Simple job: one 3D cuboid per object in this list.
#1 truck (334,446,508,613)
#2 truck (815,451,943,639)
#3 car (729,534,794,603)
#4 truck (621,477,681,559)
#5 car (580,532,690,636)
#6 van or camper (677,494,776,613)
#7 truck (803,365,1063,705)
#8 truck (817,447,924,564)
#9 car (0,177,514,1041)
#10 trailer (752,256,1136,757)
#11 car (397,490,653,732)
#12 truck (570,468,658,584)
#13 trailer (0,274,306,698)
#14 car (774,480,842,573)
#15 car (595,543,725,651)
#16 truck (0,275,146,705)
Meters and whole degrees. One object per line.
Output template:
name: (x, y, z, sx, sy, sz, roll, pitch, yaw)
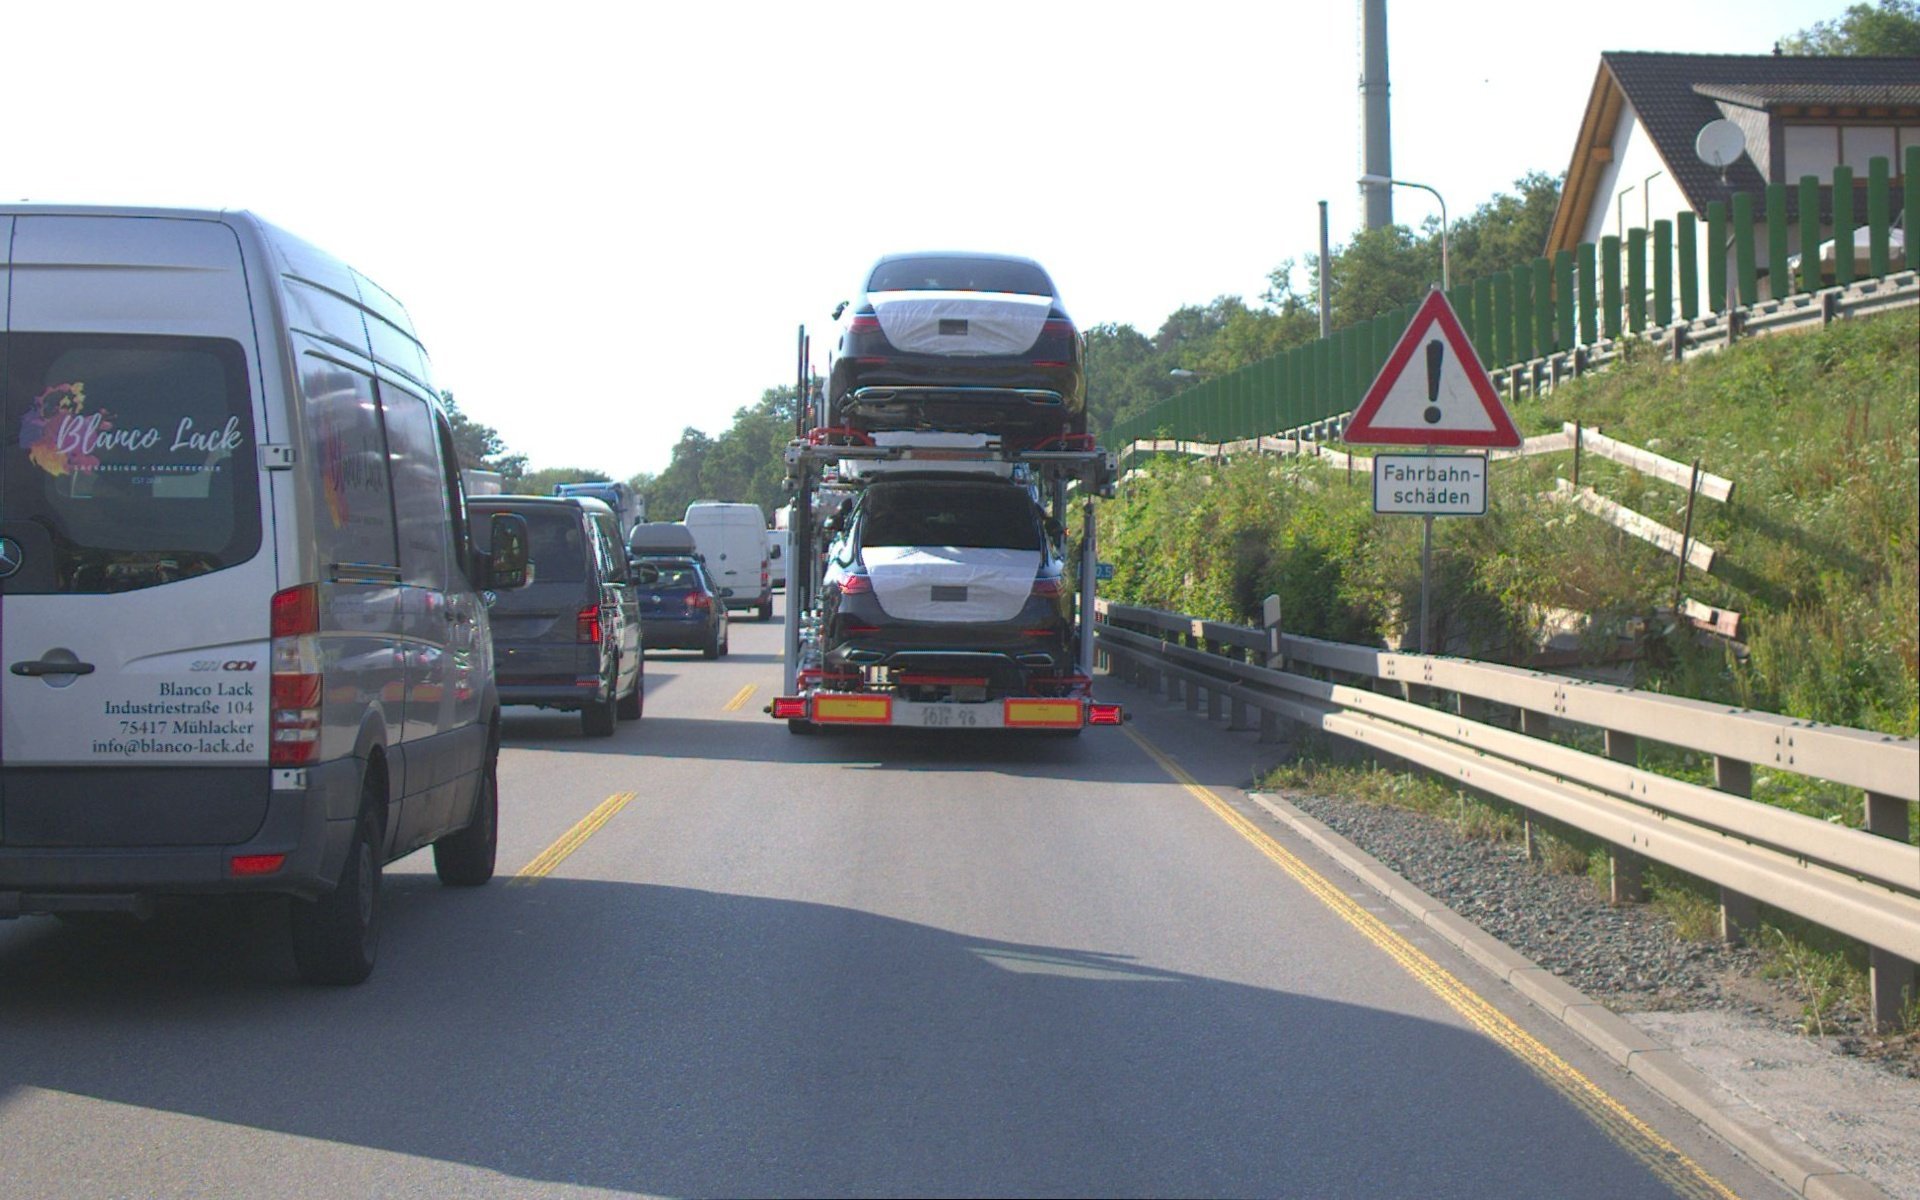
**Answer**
truck: (-11.918, -1.497, 76.738, 2.714, 3.413, 8.141, -3, 0, -2)
truck: (-2.129, -1.393, 87.714, 2.907, 4.591, 7.287, 0, 1, -4)
car: (-6.160, -0.989, 106.945, 1.885, 2.093, 3.766, 0, 1, -1)
truck: (-16.293, -4.245, 182.085, 2.982, 4.139, 15.858, 0, 1, -4)
car: (-8.094, -0.410, 85.901, 2.471, 2.525, 4.000, 0, 0, -1)
van or camper: (-5.215, -1.013, 77.436, 1.968, 2.583, 5.042, 1, 0, -1)
truck: (-0.329, -0.690, 39.557, 2.682, 3.523, 7.194, 1, 0, -1)
truck: (-3.627, -3.840, 142.538, 4.065, 4.663, 10.592, 0, 1, 1)
car: (-3.055, -0.014, 13.295, 1.993, 2.639, 5.531, -1, 1, -1)
trailer: (-0.202, -0.686, 31.988, 2.682, 3.523, 15.289, 1, 0, -1)
car: (-3.625, 0.098, 29.224, 1.808, 1.897, 4.000, 1, 0, -2)
truck: (-12.967, -2.778, 129.465, 2.624, 4.098, 9.629, -3, 1, -3)
trailer: (-10.463, -1.161, 41.224, 2.913, 4.225, 13.770, 1, 0, -2)
car: (-8.470, -4.030, 190.638, 3.444, 5.018, 9.654, 0, 1, -4)
car: (-4.416, -0.072, 51.077, 1.725, 1.517, 3.974, 1, 1, -2)
truck: (-10.300, -1.040, 34.769, 2.860, 3.994, 5.658, 1, 0, -1)
